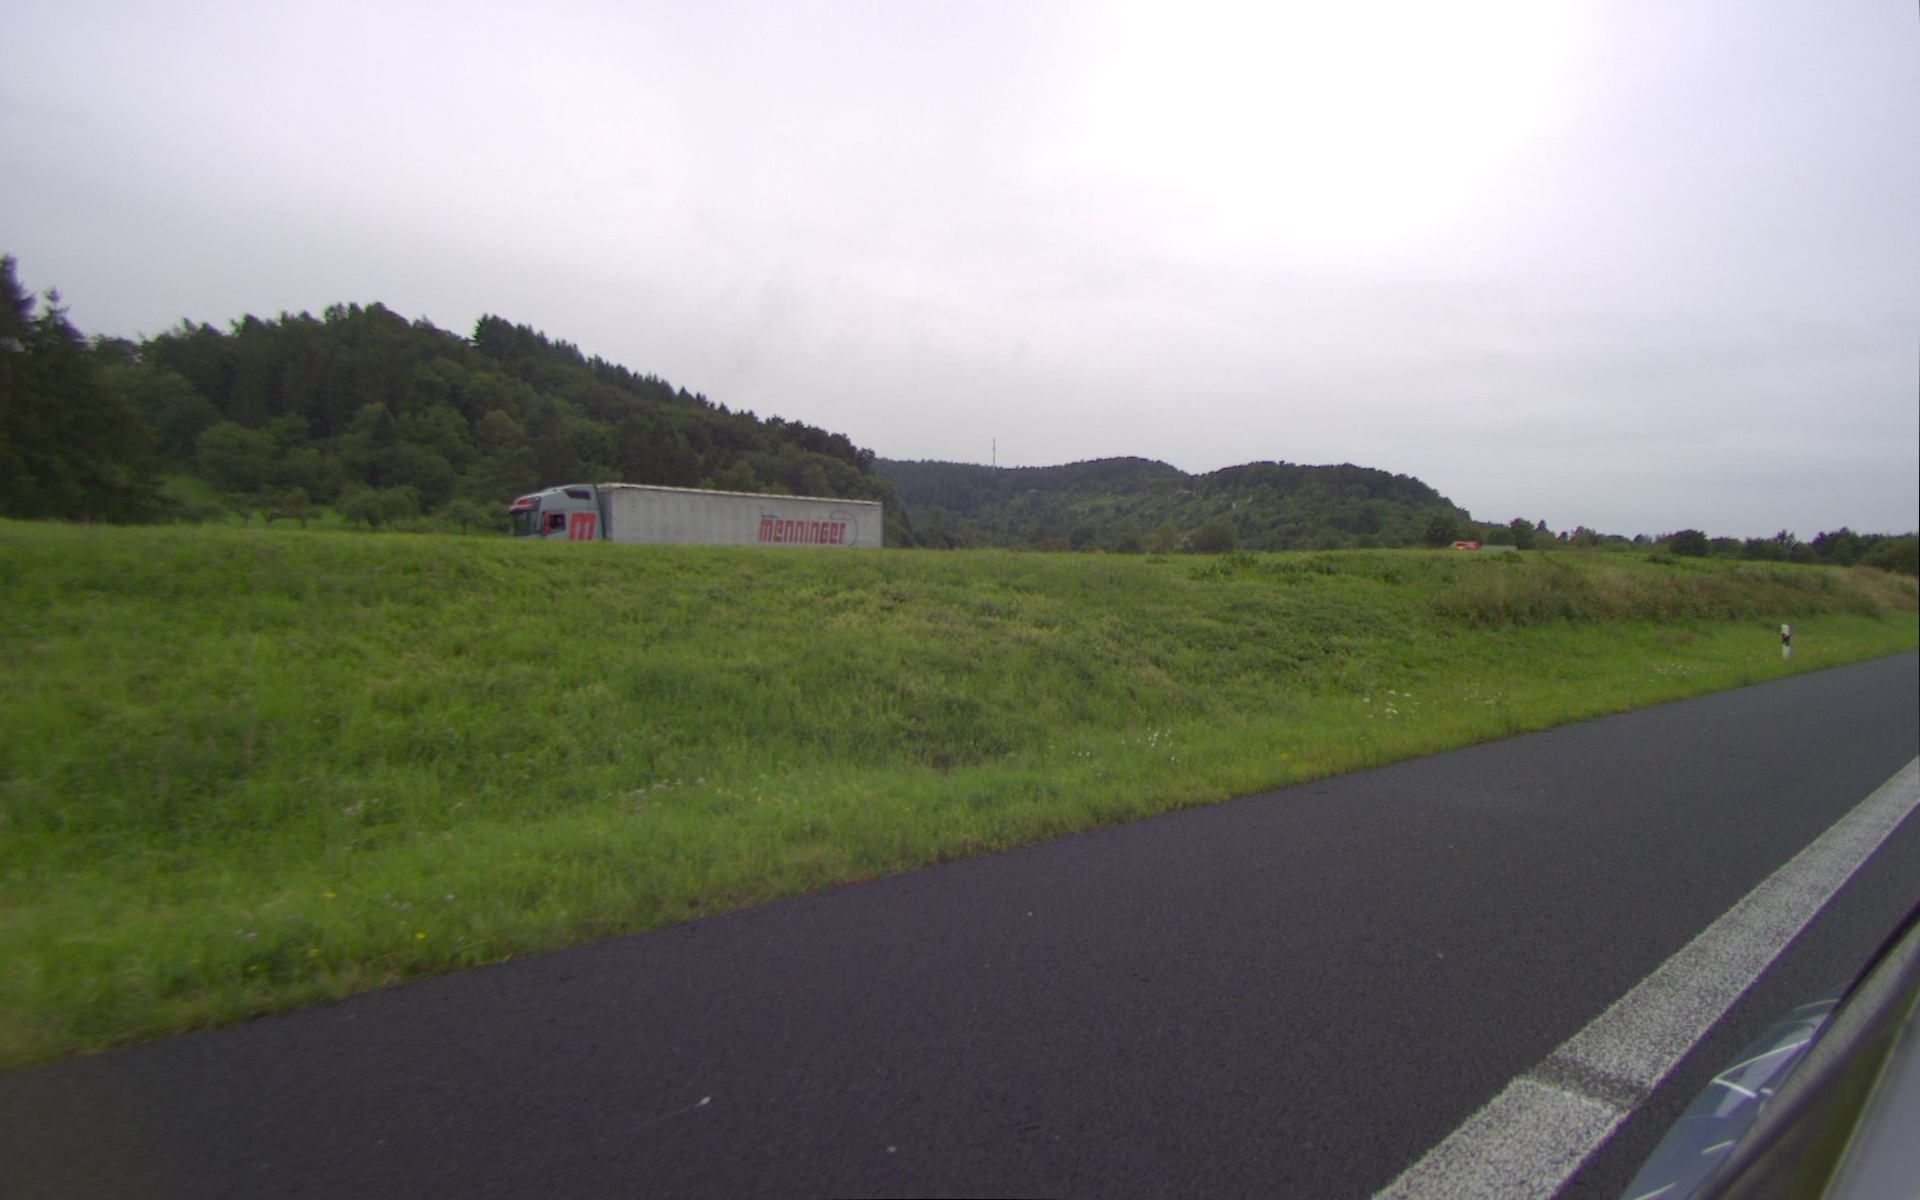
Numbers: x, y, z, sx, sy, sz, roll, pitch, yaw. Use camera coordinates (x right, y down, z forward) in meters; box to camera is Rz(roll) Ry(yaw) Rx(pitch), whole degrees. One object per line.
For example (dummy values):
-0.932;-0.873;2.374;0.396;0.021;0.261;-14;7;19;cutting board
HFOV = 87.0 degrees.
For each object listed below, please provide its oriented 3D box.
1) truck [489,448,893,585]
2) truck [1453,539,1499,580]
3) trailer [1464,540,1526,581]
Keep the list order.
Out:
-10.191;-2.959;41.794;3.821;4.597;16.619;1;1;44;truck
54.041;-4.175;105.880;5.830;4.037;2.509;0;0;-44;truck
58.249;-4.194;110.061;2.491;4.034;12.204;-1;0;45;trailer
